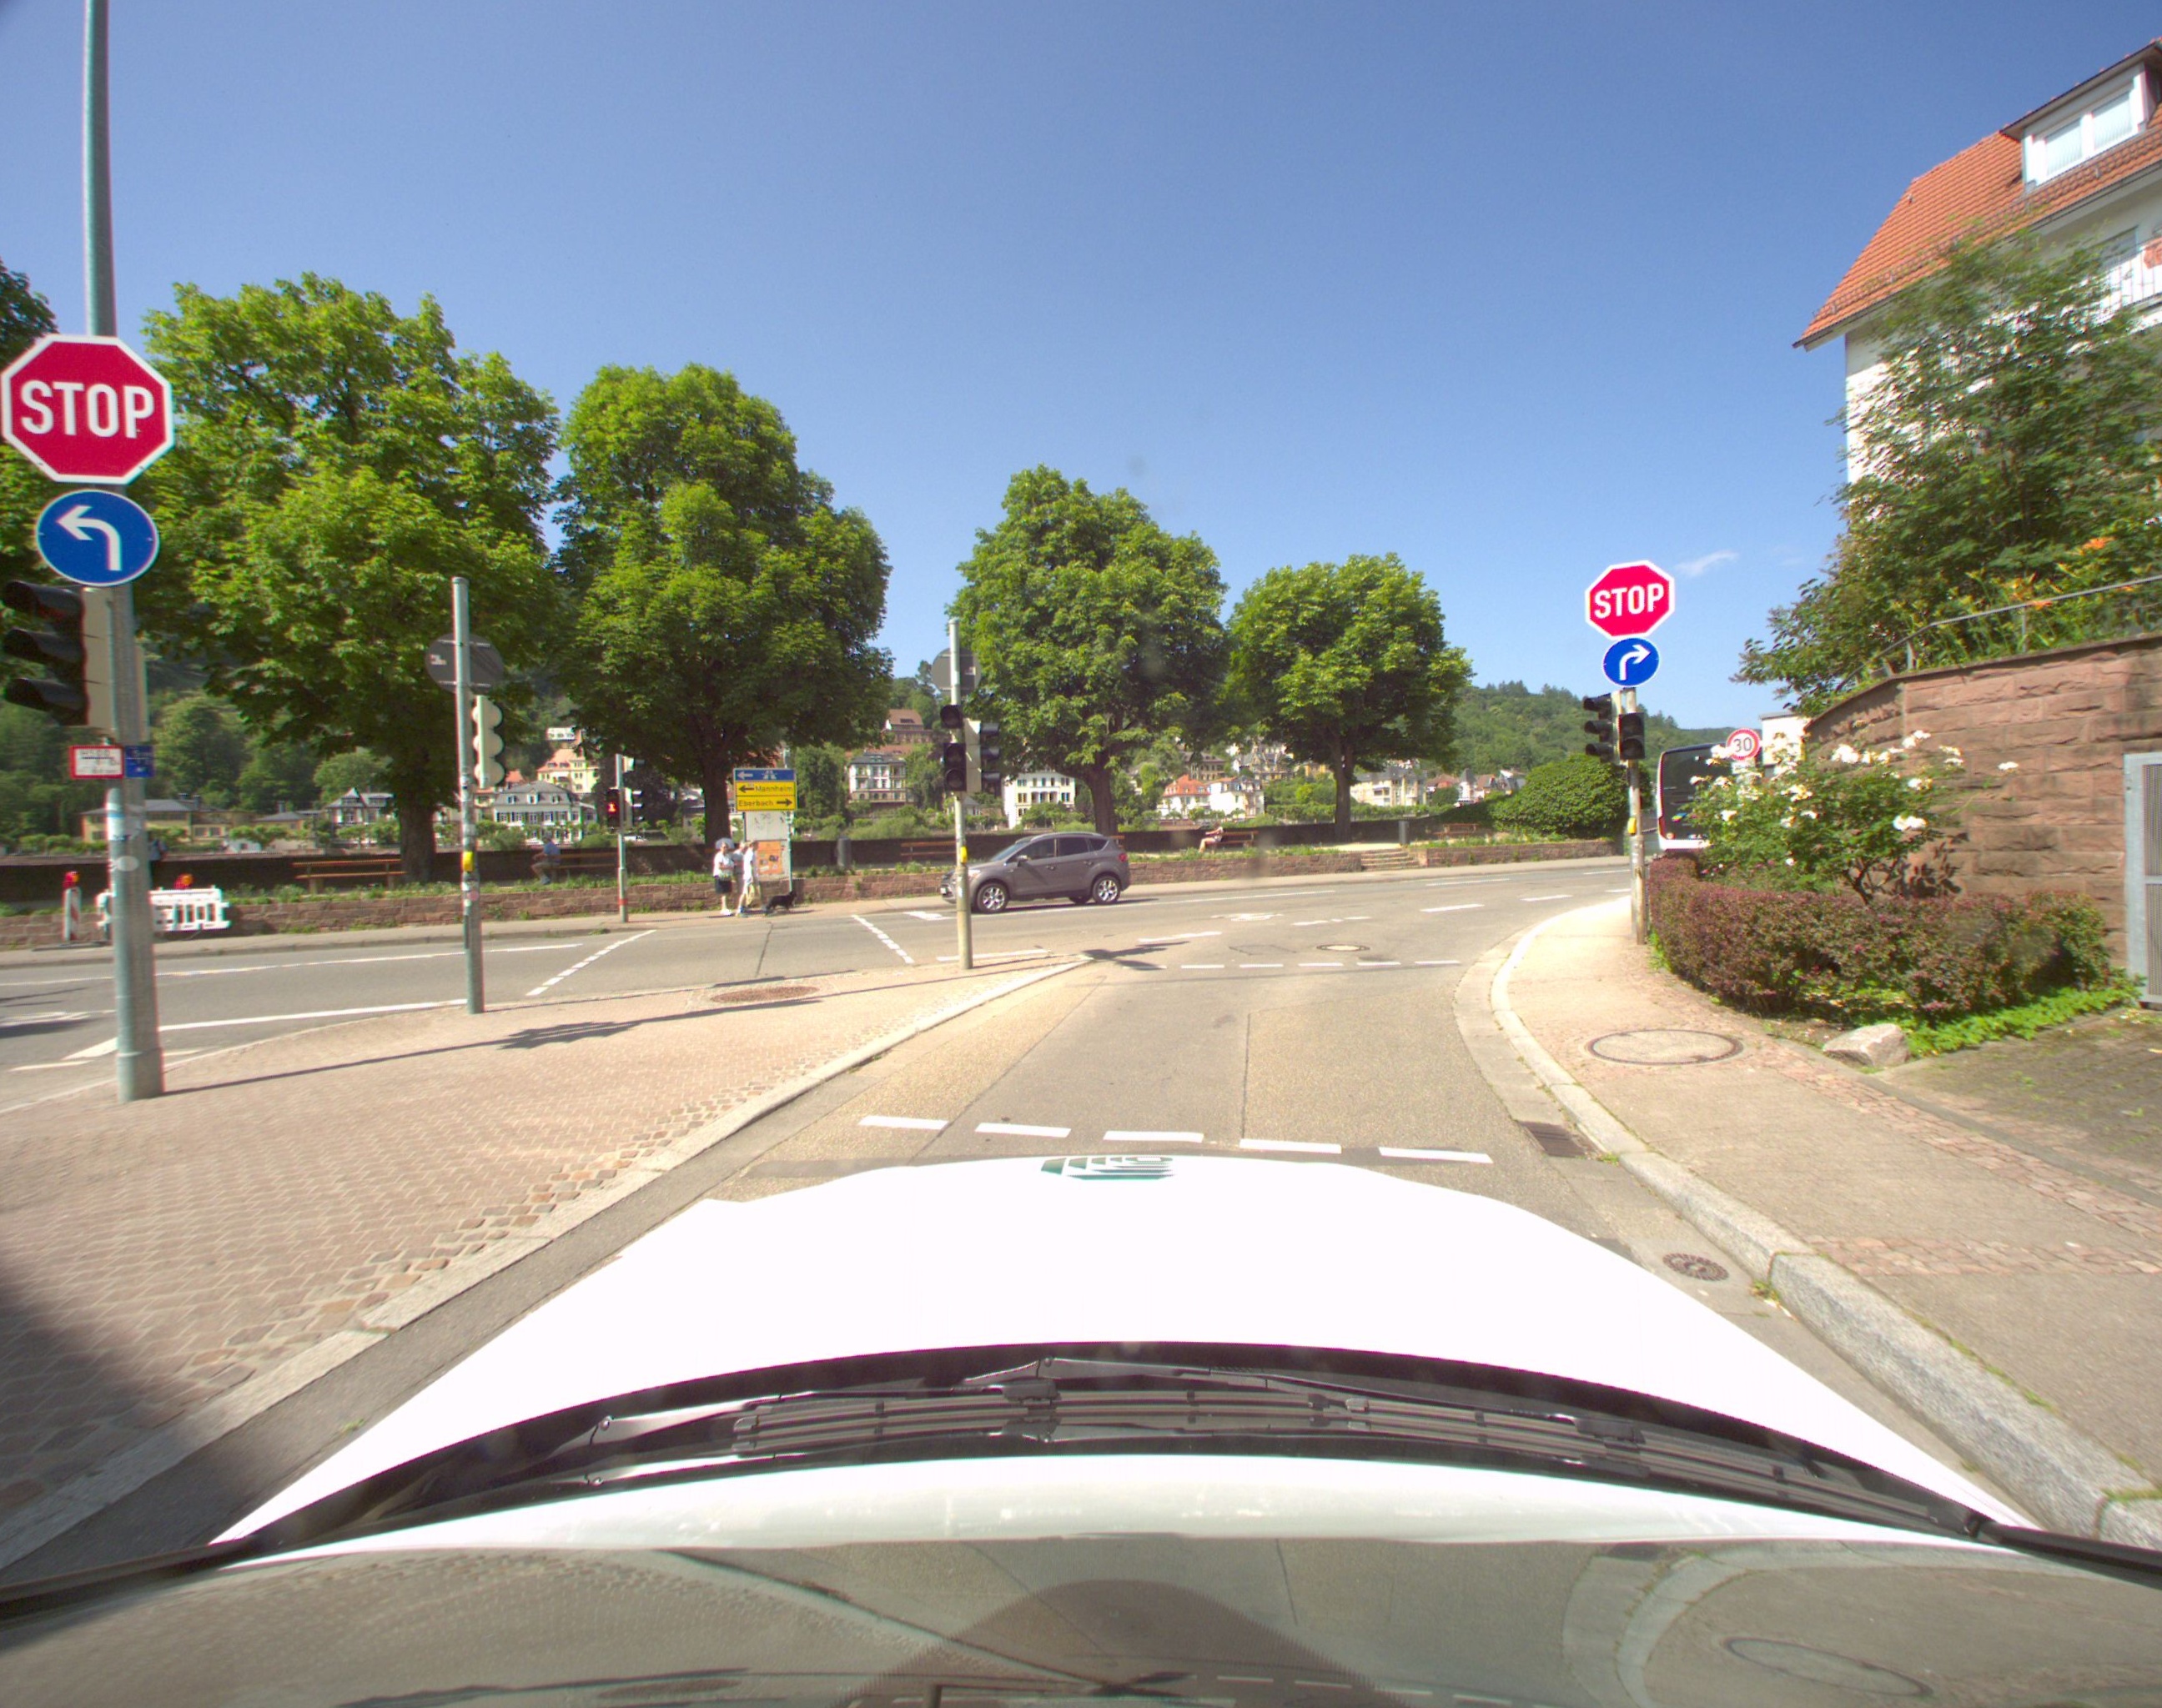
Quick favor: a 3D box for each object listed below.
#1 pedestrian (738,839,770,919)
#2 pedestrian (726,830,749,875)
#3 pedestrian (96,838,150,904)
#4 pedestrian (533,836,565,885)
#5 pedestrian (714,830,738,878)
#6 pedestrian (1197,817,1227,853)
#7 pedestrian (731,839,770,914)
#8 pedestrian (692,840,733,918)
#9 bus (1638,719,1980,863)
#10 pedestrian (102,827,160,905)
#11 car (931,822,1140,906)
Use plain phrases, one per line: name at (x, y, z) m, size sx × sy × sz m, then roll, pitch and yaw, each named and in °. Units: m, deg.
pedestrian at (-7.596, 0.559, 18.930) m, size 0.580 × 1.801 × 0.701 m, roll -2°, pitch 0°, yaw -20°
pedestrian at (-9.762, -0.022, 23.170) m, size 0.555 × 1.228 × 0.979 m, roll 0°, pitch -3°, yaw -21°
pedestrian at (-25.828, 0.444, 21.965) m, size 0.712 × 1.732 × 0.749 m, roll -2°, pitch -1°, yaw -32°
pedestrian at (-13.855, 0.164, 21.203) m, size 0.646 × 1.228 × 0.410 m, roll -3°, pitch 0°, yaw -35°
pedestrian at (-9.834, 0.003, 22.577) m, size 0.555 × 1.279 × 0.699 m, roll 0°, pitch -4°, yaw -21°
pedestrian at (4.653, -0.662, 28.918) m, size 0.800 × 1.211 × 0.711 m, roll 0°, pitch -3°, yaw -18°
pedestrian at (-8.120, 0.545, 20.003) m, size 0.693 × 1.769 × 0.710 m, roll -3°, pitch -1°, yaw -32°
pedestrian at (-8.822, 0.584, 19.489) m, size 0.727 × 1.802 × 0.627 m, roll -3°, pitch -1°, yaw -33°
bus at (22.691, -1.862, 25.132) m, size 12.193 × 3.788 × 2.885 m, roll -2°, pitch 0°, yaw -23°
pedestrian at (-23.077, 0.285, 19.791) m, size 0.769 × 1.858 × 0.748 m, roll -1°, pitch -1°, yaw -39°
car at (-1.038, 0.222, 18.736) m, size 4.415 × 1.754 × 1.829 m, roll -1°, pitch -3°, yaw -24°
